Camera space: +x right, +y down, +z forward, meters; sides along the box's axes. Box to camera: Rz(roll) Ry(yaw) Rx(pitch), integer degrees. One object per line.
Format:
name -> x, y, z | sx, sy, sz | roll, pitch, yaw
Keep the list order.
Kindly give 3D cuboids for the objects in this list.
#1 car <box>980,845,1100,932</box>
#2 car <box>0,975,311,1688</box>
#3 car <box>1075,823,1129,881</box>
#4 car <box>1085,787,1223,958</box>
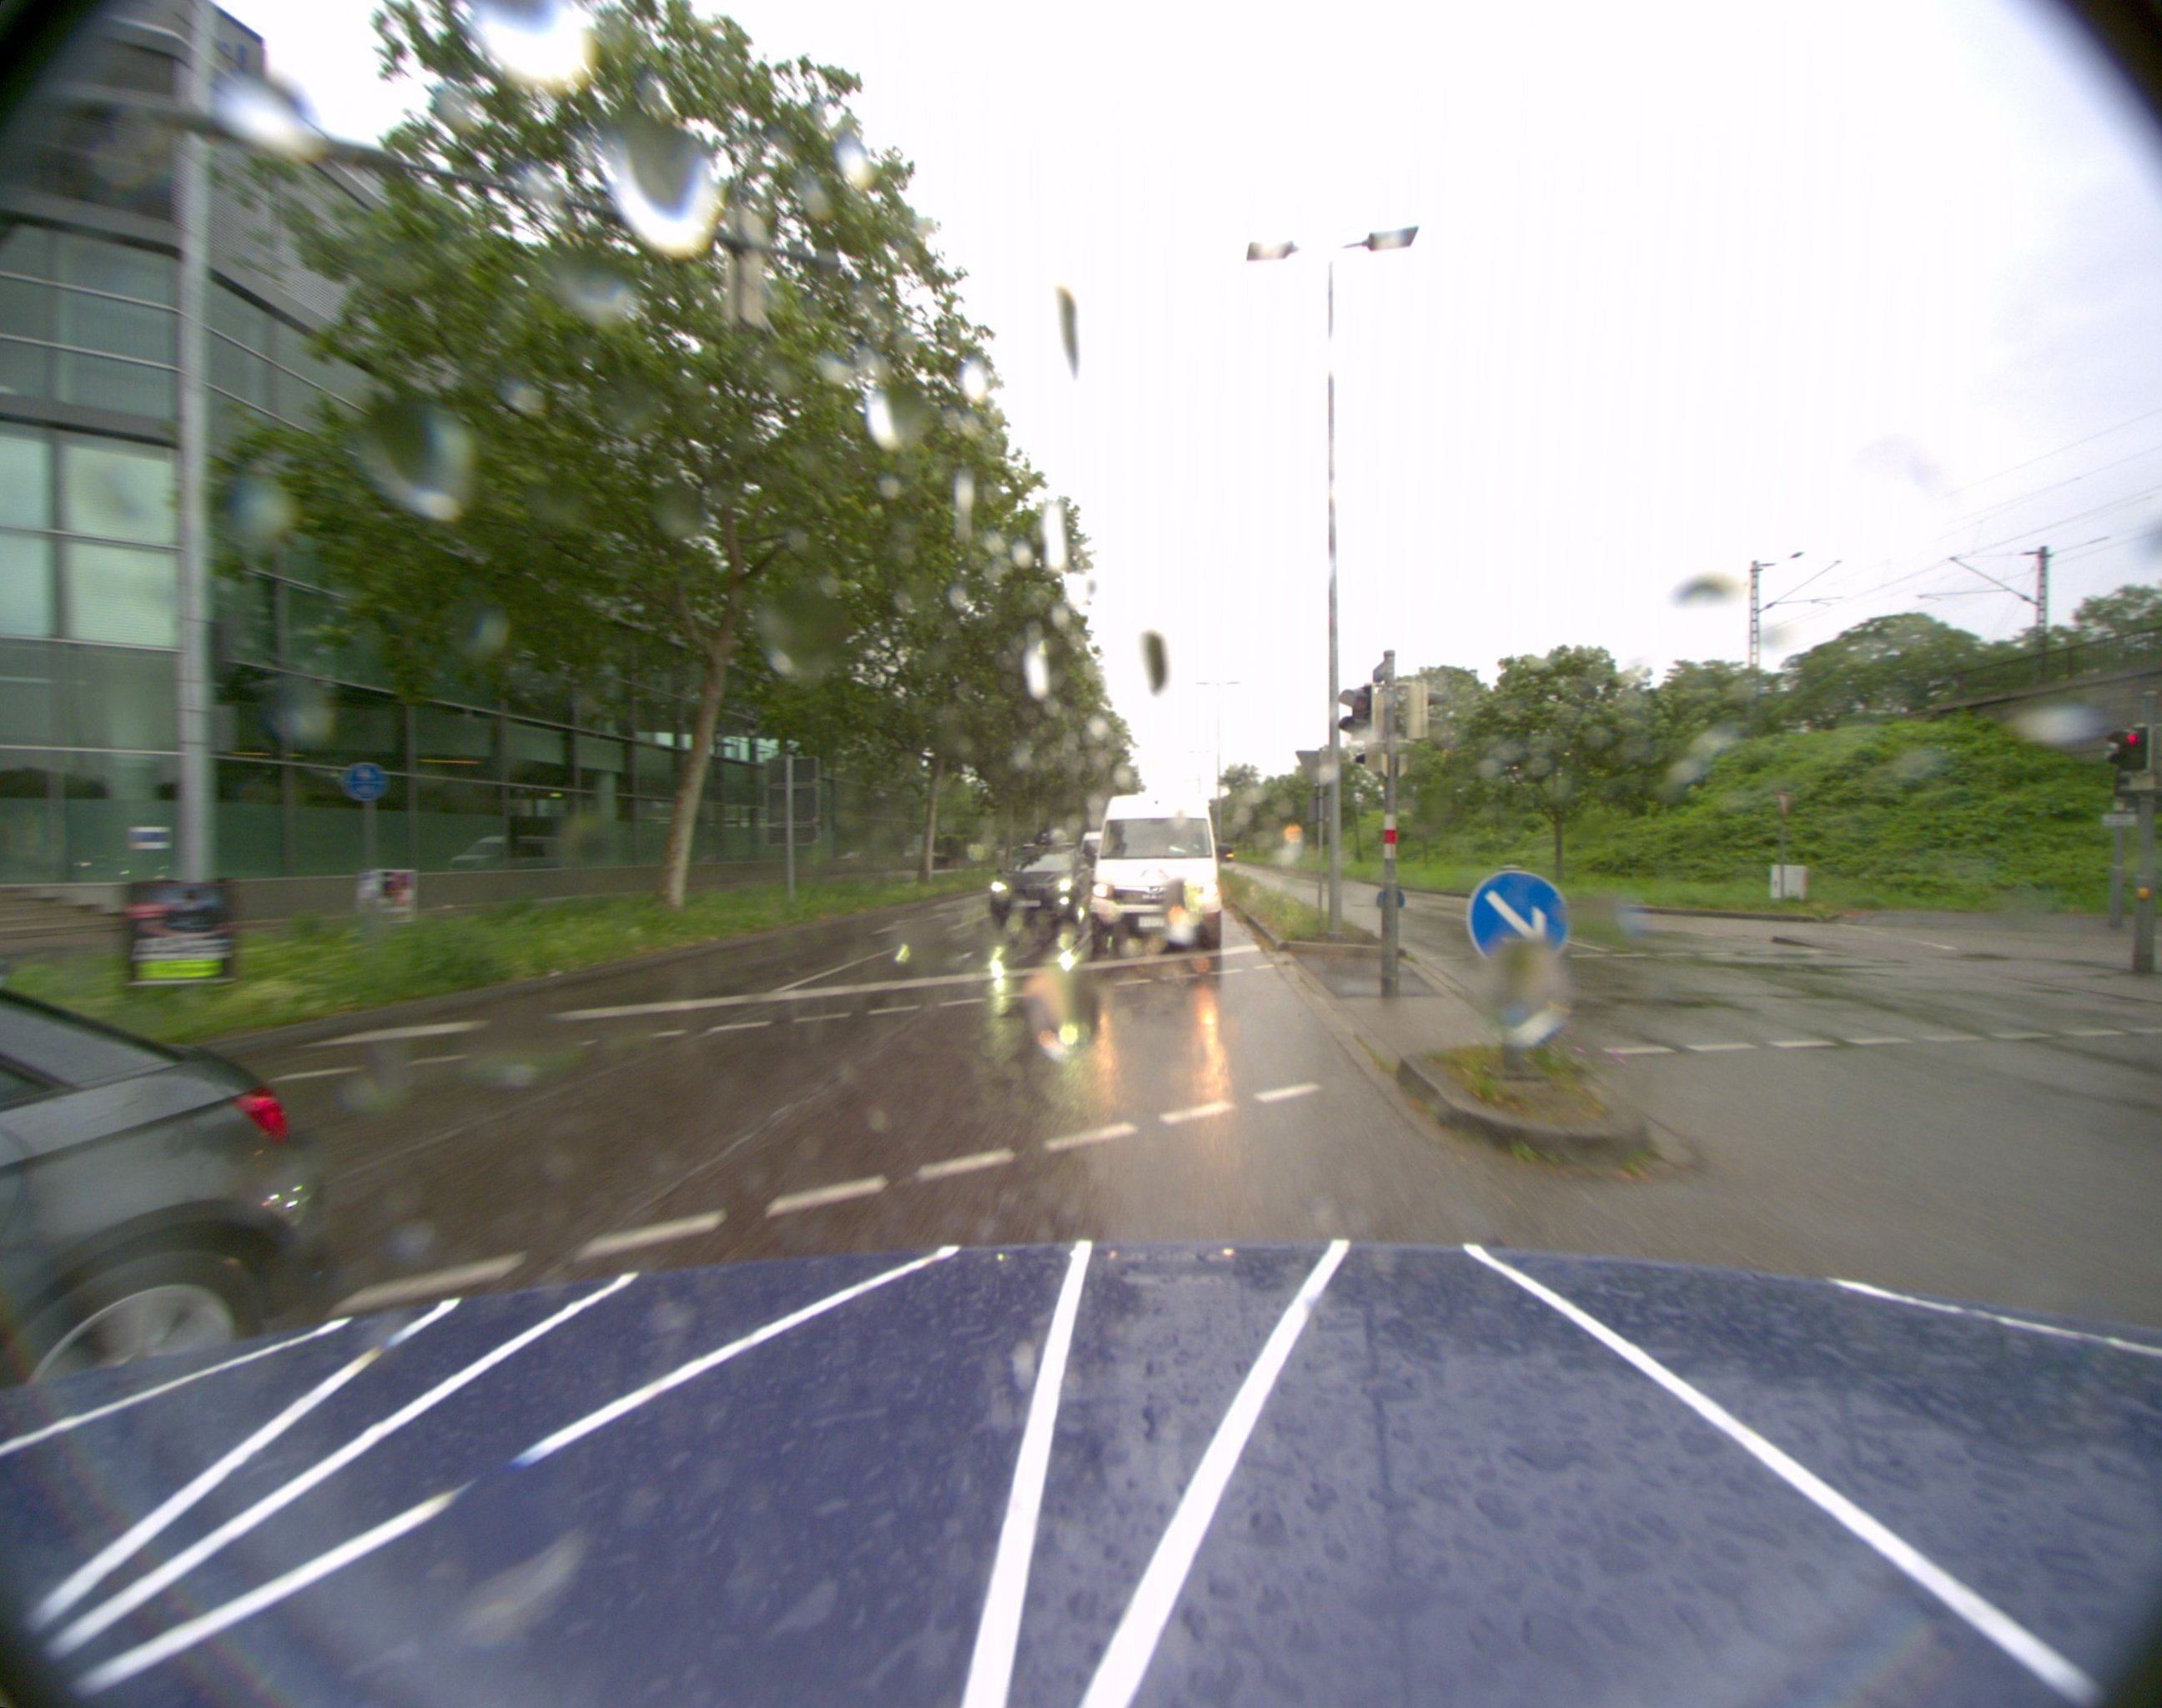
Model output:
car -> -0.775, 0.675, 17.325 | 1.997, 1.738, 4.330 | 0, 0, 7
car -> -3.298, 1.087, 0.363 | 1.840, 1.390, 3.754 | -2, 1, 5
car -> 1.041, -0.117, 34.374 | 1.997, 2.416, 4.980 | 0, 1, 7
car -> 1.453, 0.226, 13.843 | 1.967, 2.420, 5.964 | 0, 1, 8
